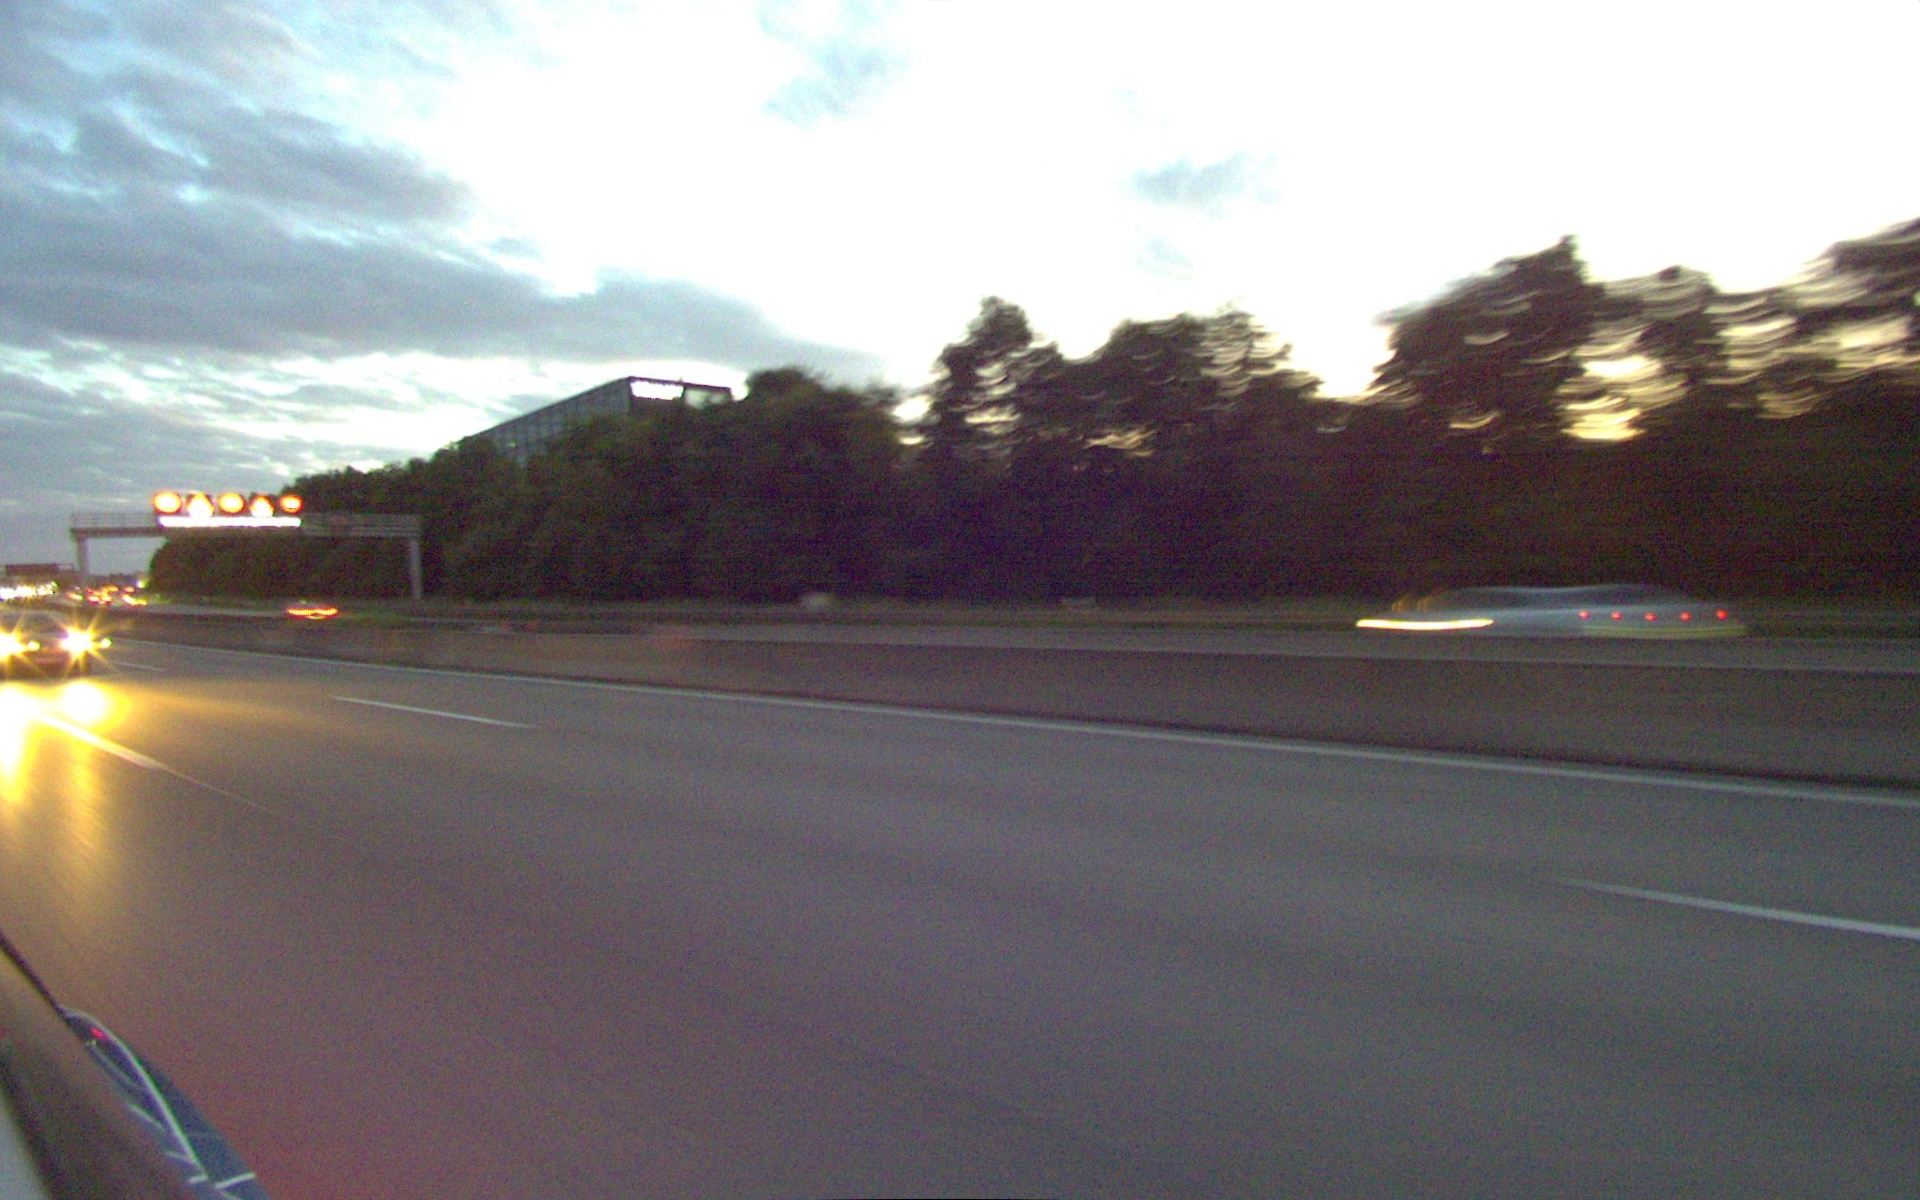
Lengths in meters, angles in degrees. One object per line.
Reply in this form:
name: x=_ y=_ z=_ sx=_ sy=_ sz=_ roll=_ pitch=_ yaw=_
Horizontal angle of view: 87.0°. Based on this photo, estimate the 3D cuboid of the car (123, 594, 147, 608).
car: x=-118.038 y=0.070 z=144.764 sx=5.525 sy=1.881 sz=1.892 roll=1 pitch=2 yaw=44

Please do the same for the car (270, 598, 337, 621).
car: x=-39.508 y=0.538 z=60.844 sx=5.232 sy=1.235 sz=2.038 roll=1 pitch=2 yaw=41

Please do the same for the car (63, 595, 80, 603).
car: x=-148.872 y=-0.178 z=169.588 sx=4.899 sy=1.364 sz=1.671 roll=1 pitch=2 yaw=44

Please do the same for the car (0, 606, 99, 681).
car: x=-21.521 y=0.940 z=23.436 sx=3.996 sy=1.491 sz=1.696 roll=1 pitch=2 yaw=39

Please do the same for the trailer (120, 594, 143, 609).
trailer: x=-114.748 y=0.186 z=140.101 sx=4.241 sy=2.017 sz=1.892 roll=-1 pitch=2 yaw=44

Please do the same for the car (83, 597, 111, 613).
car: x=-108.879 y=0.608 z=127.659 sx=6.014 sy=1.881 sz=1.893 roll=1 pitch=2 yaw=42

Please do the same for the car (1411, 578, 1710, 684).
car: x=12.205 y=0.527 z=20.800 sx=5.054 sy=1.907 sz=1.974 roll=1 pitch=2 yaw=40
